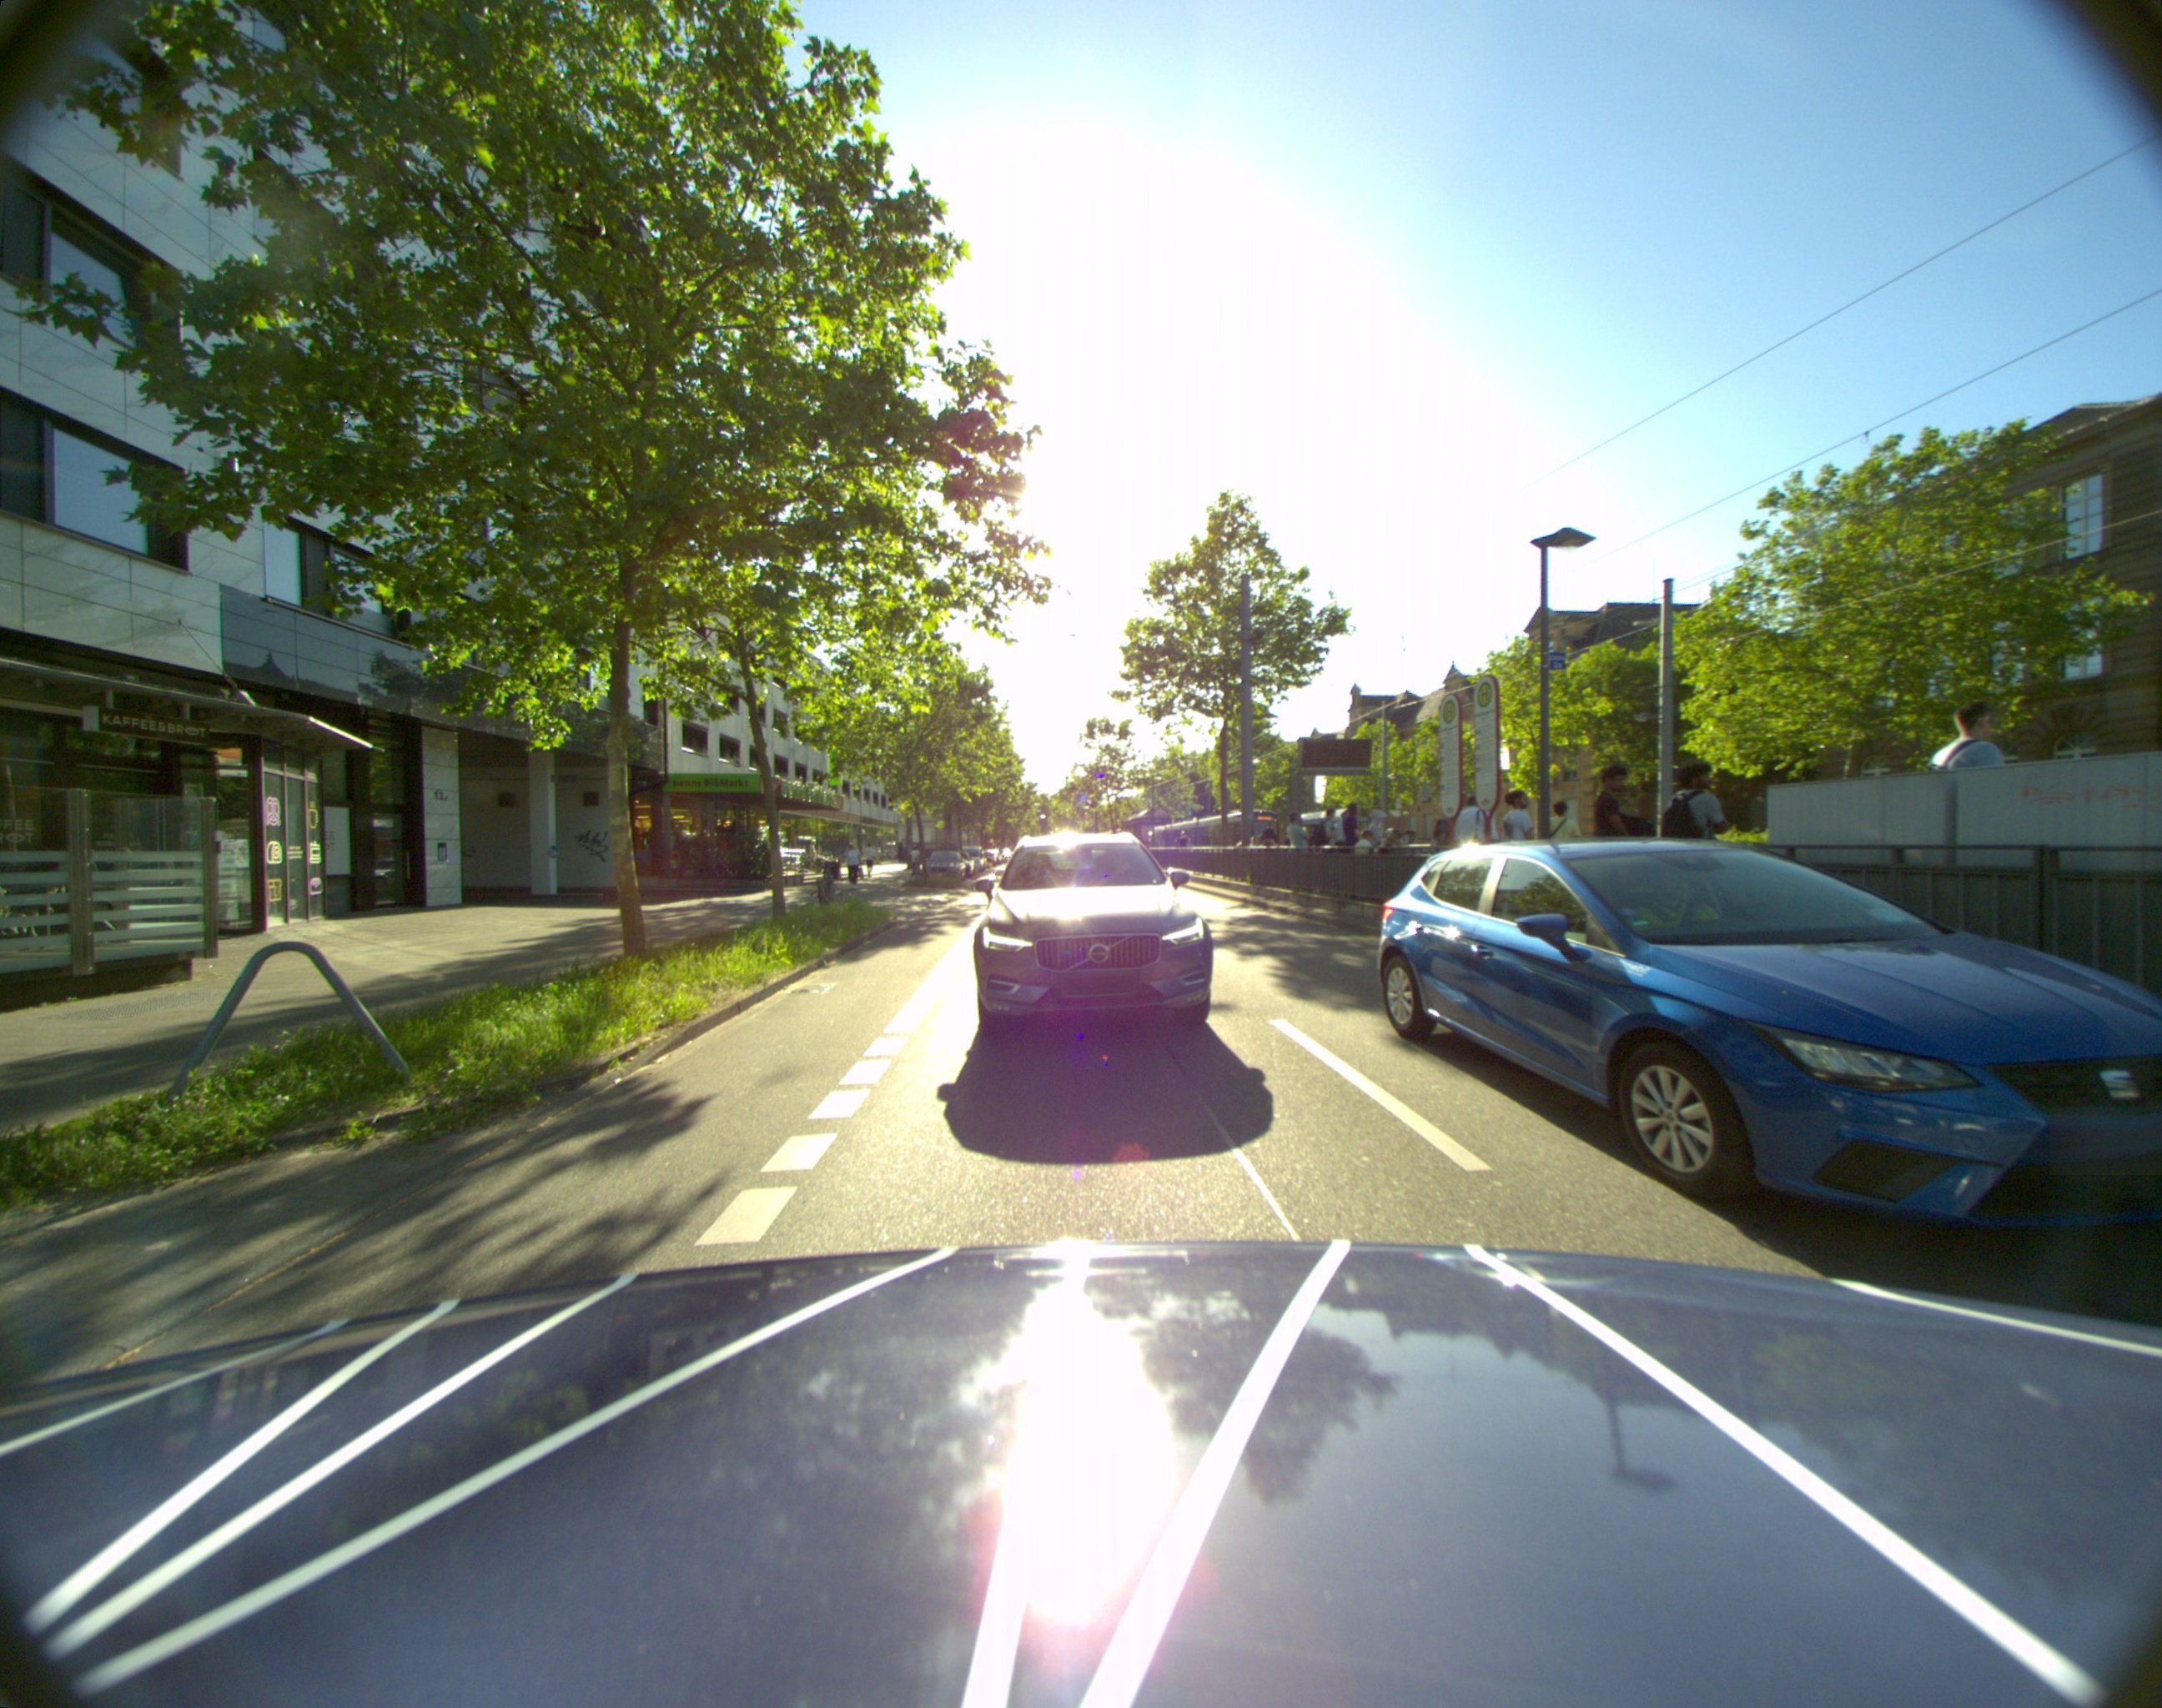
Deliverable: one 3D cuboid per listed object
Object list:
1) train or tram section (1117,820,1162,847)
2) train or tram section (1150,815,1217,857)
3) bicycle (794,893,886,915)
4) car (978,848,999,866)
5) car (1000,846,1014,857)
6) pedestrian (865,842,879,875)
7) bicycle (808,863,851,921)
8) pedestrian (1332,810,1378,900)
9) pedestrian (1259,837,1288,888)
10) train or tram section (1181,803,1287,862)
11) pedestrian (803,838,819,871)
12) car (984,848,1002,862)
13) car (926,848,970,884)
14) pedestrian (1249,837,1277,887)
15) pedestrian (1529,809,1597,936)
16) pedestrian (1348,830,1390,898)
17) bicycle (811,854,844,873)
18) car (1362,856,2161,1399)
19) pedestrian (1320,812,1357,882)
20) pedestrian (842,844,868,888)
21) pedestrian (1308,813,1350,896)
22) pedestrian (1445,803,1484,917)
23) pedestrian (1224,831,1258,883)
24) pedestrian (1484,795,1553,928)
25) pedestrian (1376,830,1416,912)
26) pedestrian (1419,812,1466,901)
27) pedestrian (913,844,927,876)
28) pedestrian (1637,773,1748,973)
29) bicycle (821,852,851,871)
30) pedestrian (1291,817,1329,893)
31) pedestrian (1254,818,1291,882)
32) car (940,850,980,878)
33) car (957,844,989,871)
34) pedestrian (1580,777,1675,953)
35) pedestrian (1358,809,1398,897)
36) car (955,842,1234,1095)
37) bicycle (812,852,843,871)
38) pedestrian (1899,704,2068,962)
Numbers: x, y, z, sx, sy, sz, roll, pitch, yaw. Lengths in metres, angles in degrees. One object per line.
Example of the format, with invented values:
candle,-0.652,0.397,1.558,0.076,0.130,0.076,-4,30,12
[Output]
train or tram section,5.843,-2.015,78.782,2.570,2.517,15.065,-1,1,-3
train or tram section,9.459,-1.597,72.873,2.879,3.414,18.267,-2,1,-3
bicycle,-5.247,1.095,16.691,1.613,0.351,1.388,0,1,-3
car,-8.203,0.258,67.706,1.678,1.430,3.688,1,1,-4
car,-10.686,-0.406,109.478,1.839,1.556,4.271,-2,1,-3
pedestrian,-10.971,0.244,39.914,0.561,1.734,0.878,0,1,-4
bicycle,-5.453,0.795,16.539,0.791,1.127,1.843,-1,1,-16
pedestrian,5.220,0.013,14.520,0.662,1.686,0.570,0,1,-2
pedestrian,4.820,0.205,19.035,0.535,1.239,0.604,0,1,-5
train or tram section,10.394,-1.391,54.675,2.857,3.414,18.206,-2,1,-3
pedestrian,-14.703,0.027,41.398,0.614,1.705,0.611,5,0,-28
car,-9.035,0.088,78.197,1.630,1.434,3.928,0,1,-4
car,-6.237,0.505,36.016,1.569,1.541,3.998,-1,1,-3
pedestrian,4.797,0.201,20.010,0.535,1.292,0.604,0,1,-7
pedestrian,6.862,0.249,10.840,0.555,1.760,0.611,-1,1,-7
pedestrian,5.172,0.175,13.664,0.546,1.185,0.530,0,1,-4
bicycle,-13.207,0.486,39.576,1.648,0.911,0.587,2,-2,23
car,3.128,0.781,4.090,1.707,1.407,3.874,-2,1,-1
pedestrian,6.174,-0.165,18.231,0.620,1.640,0.622,-1,1,-7
pedestrian,-8.503,0.448,28.646,0.699,1.603,0.867,1,1,-2
pedestrian,5.094,0.009,15.627,0.662,1.686,0.570,0,1,-2
pedestrian,5.901,0.084,11.705,0.506,1.692,0.612,0,1,24
pedestrian,4.737,0.075,22.468,0.778,1.501,0.751,0,1,-7
pedestrian,5.731,0.092,9.978,0.507,1.692,0.611,-1,1,-7
pedestrian,5.135,0.273,12.396,0.417,1.308,0.507,0,1,-5
pedestrian,6.321,0.040,13.304,0.546,1.510,0.530,0,1,-4
pedestrian,-8.535,0.315,40.195,0.561,1.694,1.051,0,1,-4
pedestrian,5.510,0.164,6.864,0.540,1.724,0.549,-1,1,-12
bicycle,-14.506,0.421,44.974,1.700,1.049,0.587,2,1,23
pedestrian,5.001,0.025,16.620,0.662,1.624,0.570,0,1,-2
pedestrian,5.284,-0.110,21.011,0.778,1.742,0.723,0,1,-7
car,-6.771,0.538,42.912,1.766,1.410,4.698,-2,1,-4
car,-7.409,0.203,52.437,1.769,1.781,4.391,0,1,-3
pedestrian,5.537,0.102,7.722,0.549,1.724,0.539,-1,1,-7
pedestrian,5.851,-0.027,14.975,0.516,1.698,0.621,0,1,-4
car,-0.019,0.760,7.444,1.914,1.696,4.271,-2,1,-3
bicycle,-14.742,0.427,44.127,1.700,1.049,0.587,2,0,23
pedestrian,6.381,-0.143,5.398,0.549,1.724,0.539,-1,1,-7
